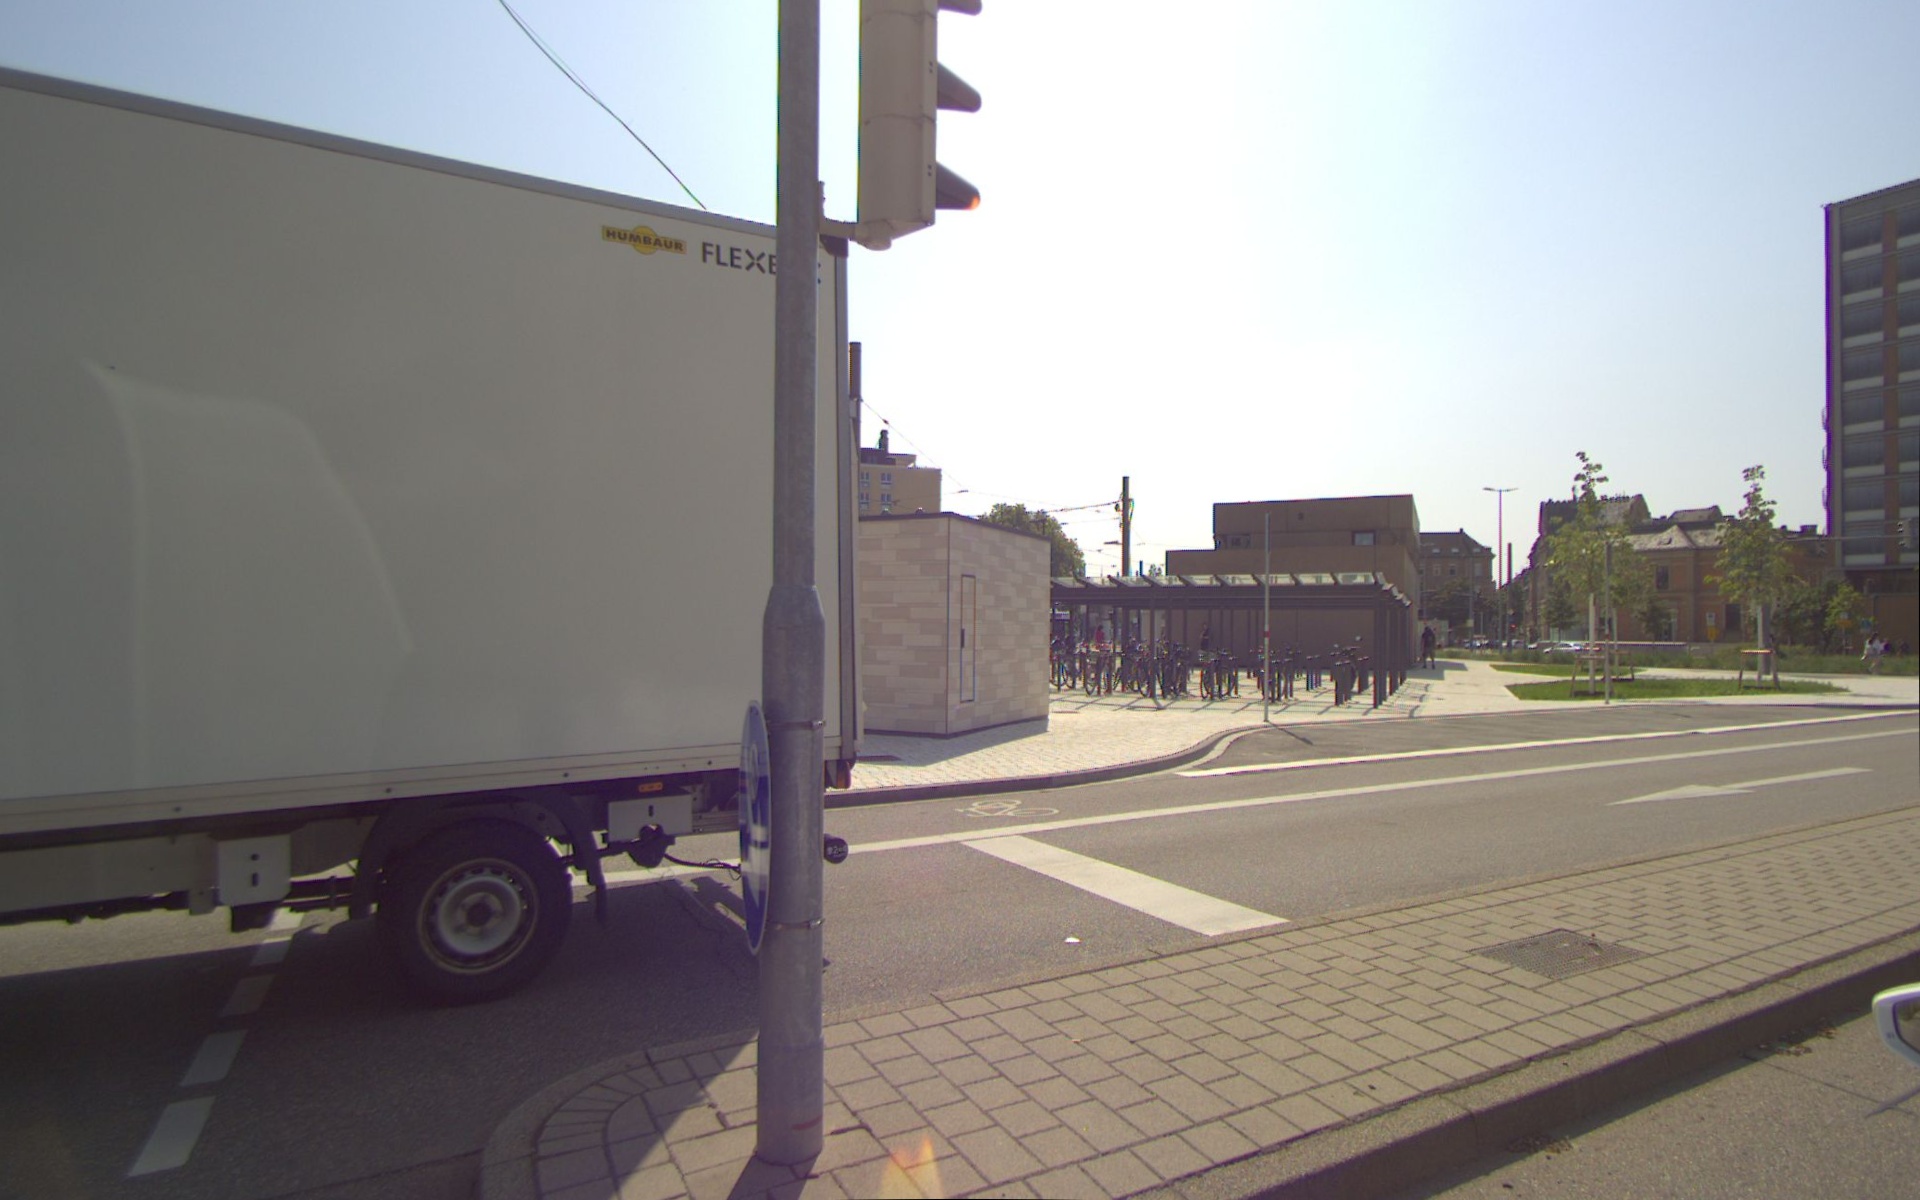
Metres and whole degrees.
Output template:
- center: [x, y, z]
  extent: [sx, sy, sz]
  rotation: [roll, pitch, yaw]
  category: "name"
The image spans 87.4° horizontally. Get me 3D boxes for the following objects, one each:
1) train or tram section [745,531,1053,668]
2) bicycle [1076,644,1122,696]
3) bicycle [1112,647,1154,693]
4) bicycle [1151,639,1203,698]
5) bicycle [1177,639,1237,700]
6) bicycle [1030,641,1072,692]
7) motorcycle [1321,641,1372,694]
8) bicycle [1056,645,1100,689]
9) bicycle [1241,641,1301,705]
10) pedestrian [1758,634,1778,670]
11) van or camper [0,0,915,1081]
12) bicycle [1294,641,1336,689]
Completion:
- center: [-1.173, 0.267, 39.324]
  extent: [2.842, 4.121, 19.122]
  rotation: [0, -2, 26]
  category: "train or tram section"
- center: [3.106, 1.537, 22.354]
  extent: [0.457, 1.077, 1.691]
  rotation: [0, -1, 28]
  category: "bicycle"
- center: [4.173, 1.661, 24.132]
  extent: [0.457, 1.016, 1.758]
  rotation: [0, -1, 28]
  category: "bicycle"
- center: [4.732, 1.463, 21.850]
  extent: [0.532, 1.226, 1.608]
  rotation: [0, -2, 35]
  category: "bicycle"
- center: [5.306, 1.465, 21.482]
  extent: [0.596, 1.226, 1.804]
  rotation: [-1, -2, 37]
  category: "bicycle"
- center: [2.111, 1.506, 23.149]
  extent: [0.457, 1.115, 1.421]
  rotation: [0, -1, 28]
  category: "bicycle"
- center: [9.673, 1.654, 25.085]
  extent: [0.596, 1.226, 2.245]
  rotation: [-1, -2, 37]
  category: "motorcycle"
- center: [2.914, 1.628, 24.728]
  extent: [0.457, 1.016, 1.758]
  rotation: [0, -1, 28]
  category: "bicycle"
- center: [6.395, 1.463, 20.601]
  extent: [0.596, 1.226, 1.804]
  rotation: [-1, -2, 37]
  category: "bicycle"
- center: [35.259, 2.274, 43.846]
  extent: [0.520, 1.573, 0.417]
  rotation: [0, -2, 16]
  category: "pedestrian"
- center: [-3.867, -0.185, 3.940]
  extent: [7.104, 3.350, 2.389]
  rotation: [1, -2, -30]
  category: "van or camper"
- center: [9.682, 1.749, 27.363]
  extent: [0.596, 1.226, 1.804]
  rotation: [-1, -2, 37]
  category: "bicycle"
